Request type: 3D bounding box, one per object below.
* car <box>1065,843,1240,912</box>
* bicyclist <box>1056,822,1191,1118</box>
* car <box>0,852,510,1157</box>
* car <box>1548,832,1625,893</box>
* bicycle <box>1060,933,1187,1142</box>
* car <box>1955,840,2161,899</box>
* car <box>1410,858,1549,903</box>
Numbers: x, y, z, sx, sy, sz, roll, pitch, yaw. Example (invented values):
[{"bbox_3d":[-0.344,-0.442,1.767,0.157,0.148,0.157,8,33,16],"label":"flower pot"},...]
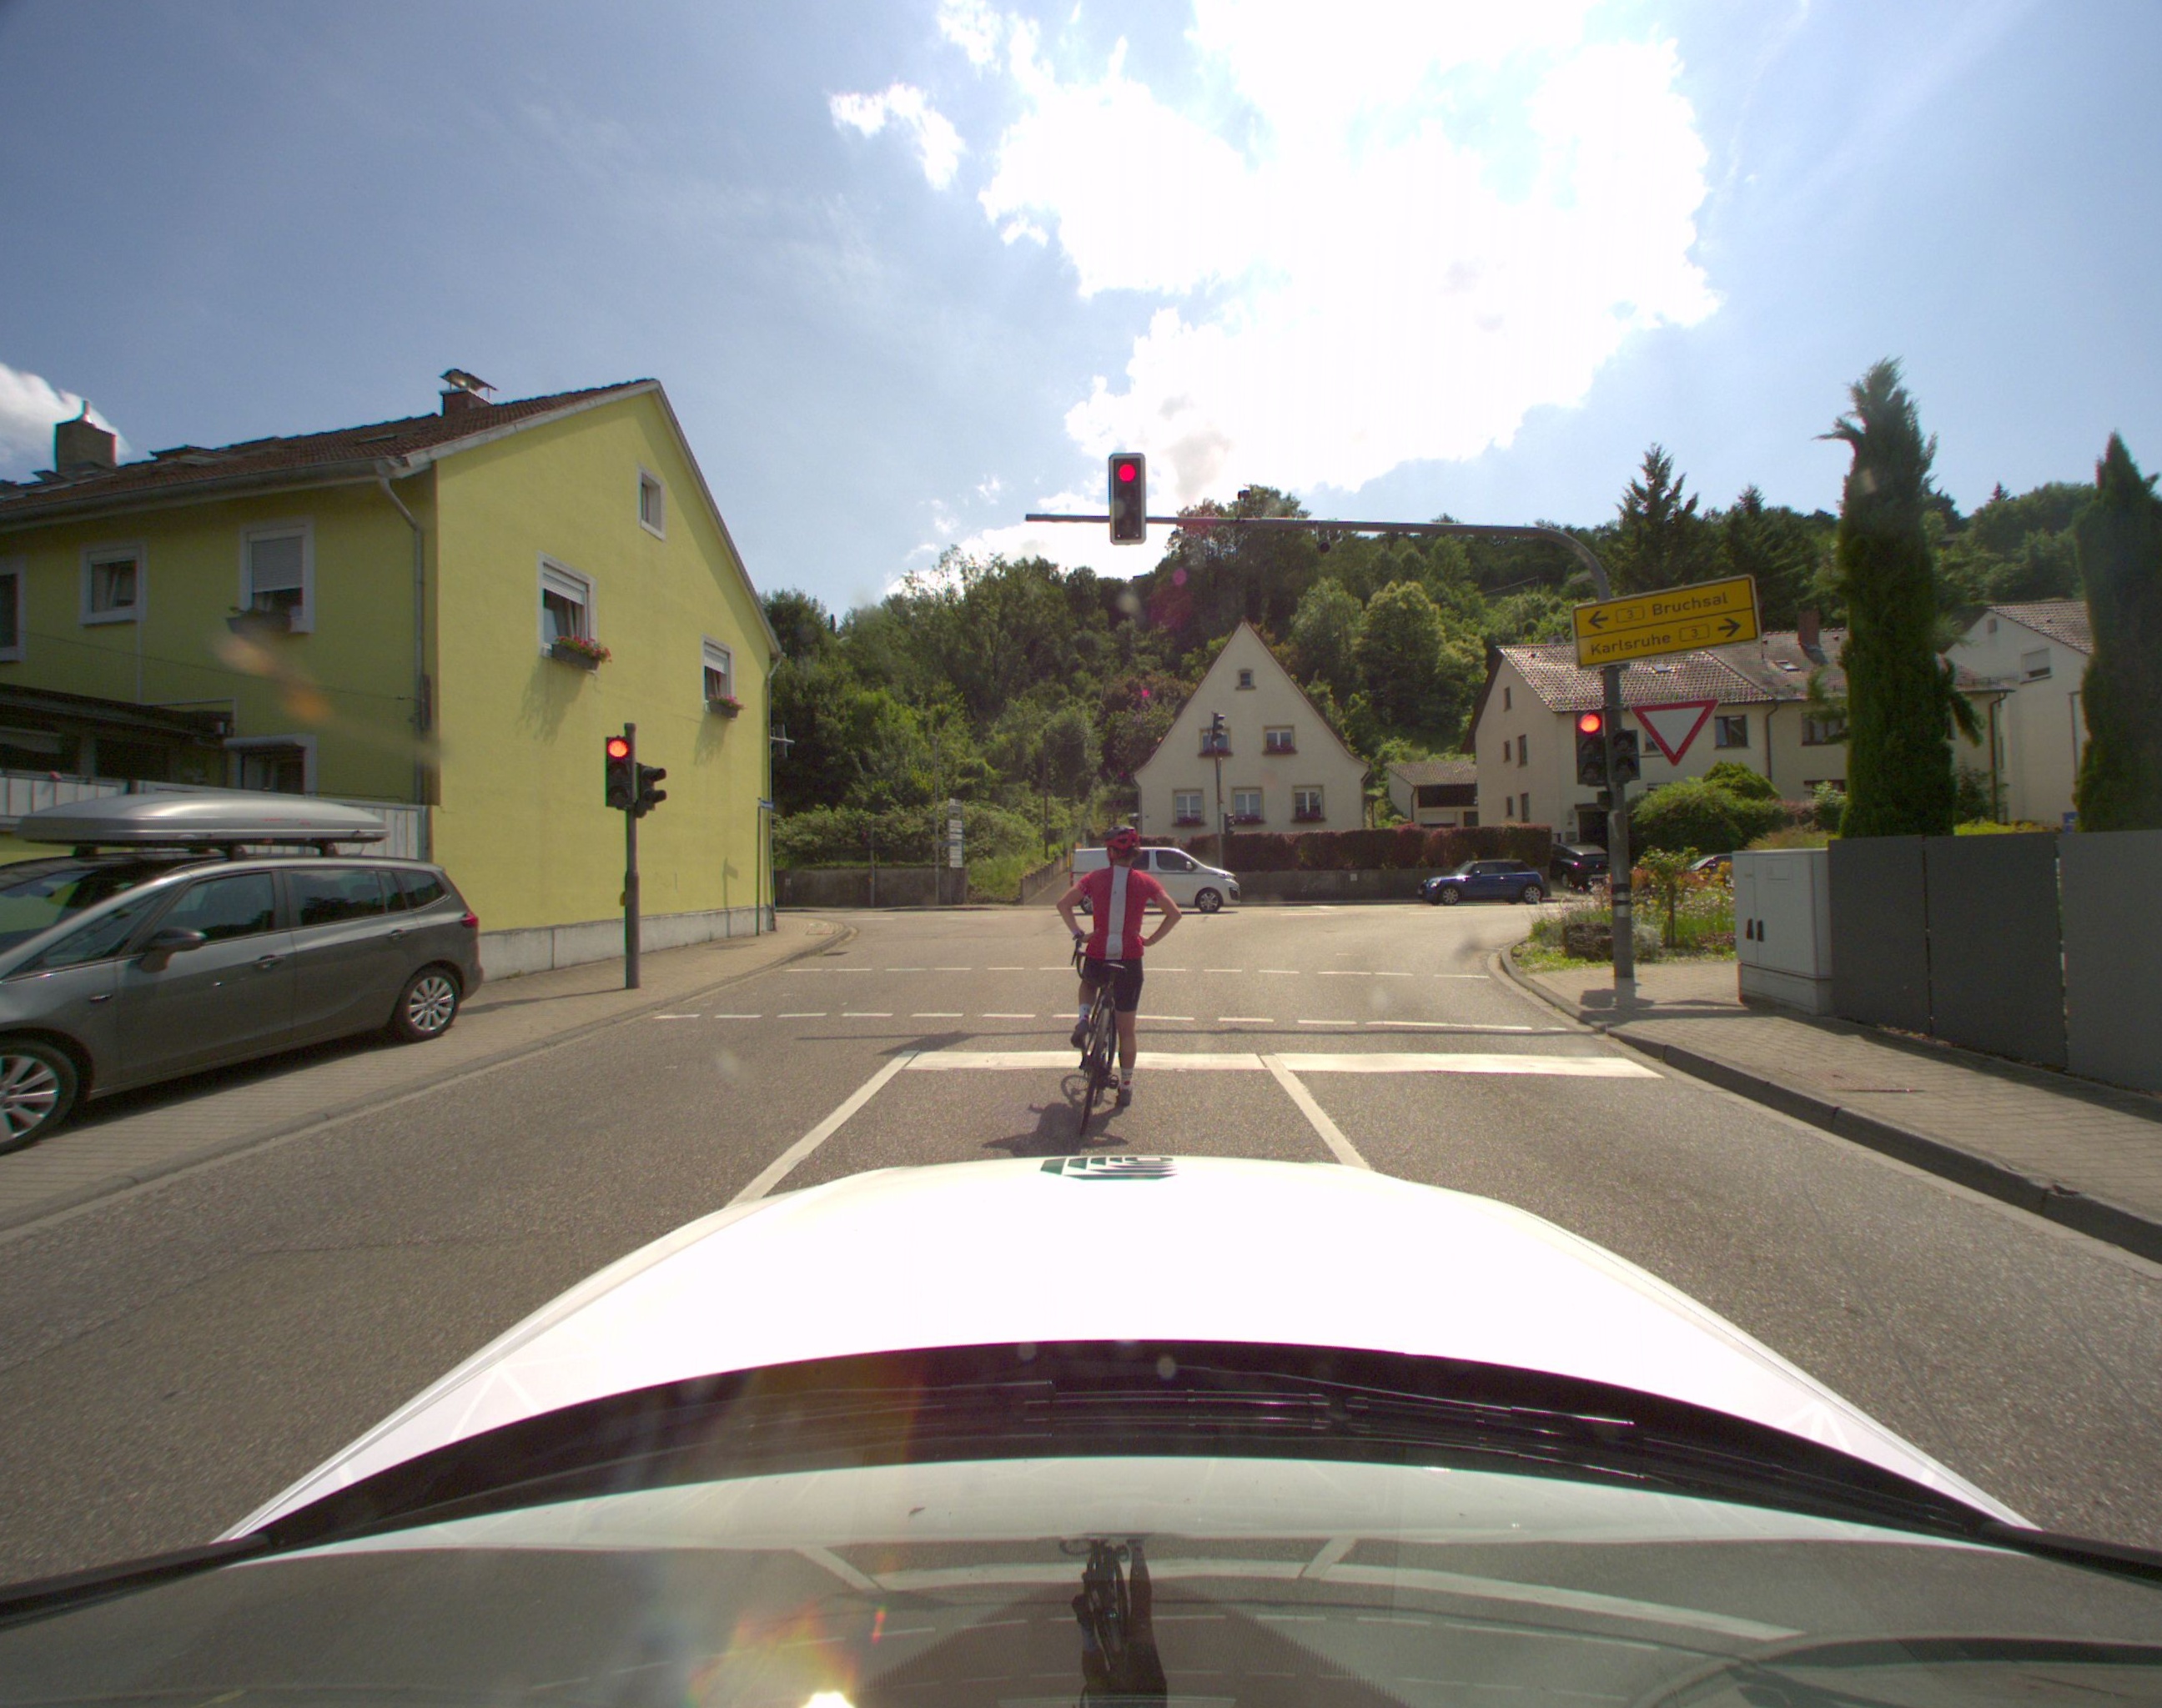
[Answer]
[{"bbox_3d":[2.122,0.713,23.542,4.842,1.822,2.005,-1,-3,10],"label":"car"},{"bbox_3d":[0.231,0.654,5.050,0.759,1.664,0.868,0,-1,-3],"label":"bicyclist"},{"bbox_3d":[-6.727,0.805,5.741,1.986,1.635,4.632,0,0,2],"label":"car"},{"bbox_3d":[18.869,0.259,30.574,1.780,1.388,3.709,-1,13,21],"label":"car"},{"bbox_3d":[0.195,1.015,4.990,0.628,0.905,1.655,0,0,-2],"label":"bicycle"},{"bbox_3d":[26.078,0.410,20.972,4.637,1.427,1.932,-1,-3,8],"label":"car"},{"bbox_3d":[12.546,0.853,25.816,3.590,1.363,1.647,0,-3,6],"label":"car"}]
